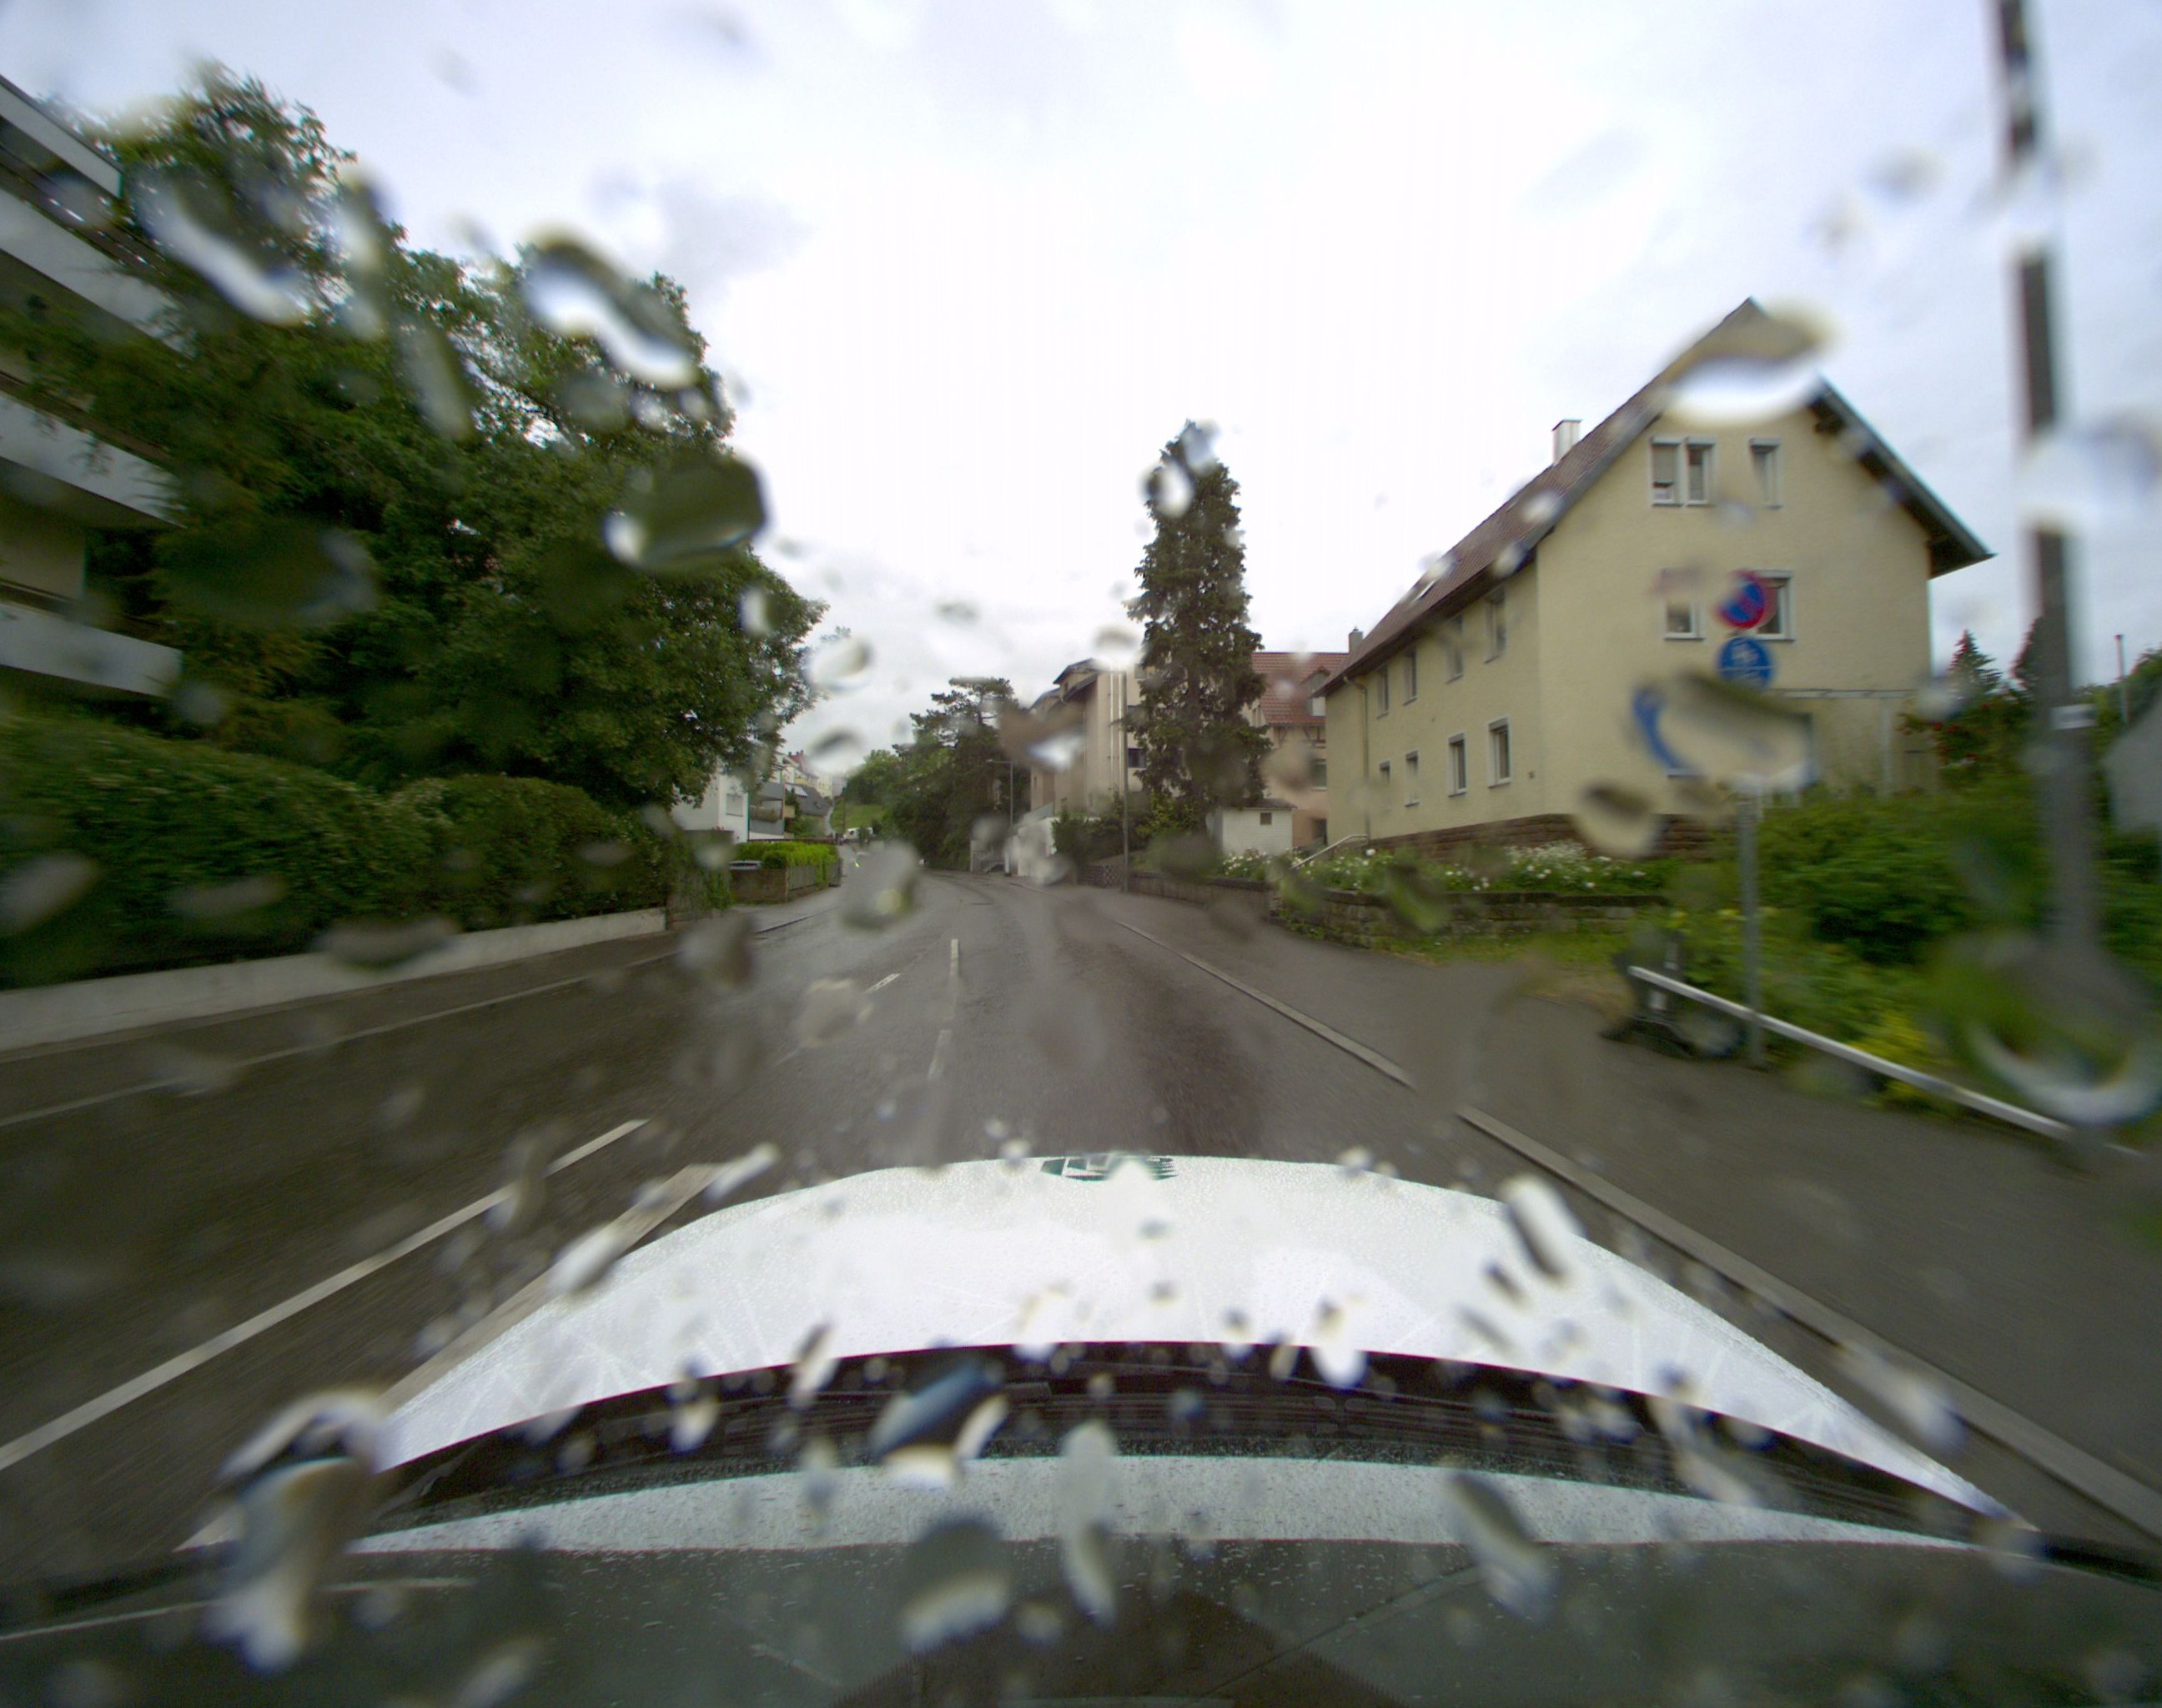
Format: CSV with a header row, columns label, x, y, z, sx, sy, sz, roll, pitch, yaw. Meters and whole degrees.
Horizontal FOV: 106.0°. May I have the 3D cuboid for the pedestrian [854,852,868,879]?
label,x,y,z,sx,sy,sz,roll,pitch,yaw
pedestrian,-13.903,0.733,51.548,0.757,1.644,1.035,3,-1,-13

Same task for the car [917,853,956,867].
label,x,y,z,sx,sy,sz,roll,pitch,yaw
car,-17.210,0.668,96.852,4.161,1.476,1.890,-3,1,-23

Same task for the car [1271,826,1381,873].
label,x,y,z,sx,sy,sz,roll,pitch,yaw
car,10.058,-0.199,33.669,3.846,1.653,1.960,-4,0,-5

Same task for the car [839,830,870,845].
label,x,y,z,sx,sy,sz,roll,pitch,yaw
car,-40.642,-2.956,145.955,4.969,2.569,1.888,-3,1,-27

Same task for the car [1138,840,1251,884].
label,x,y,z,sx,sy,sz,roll,pitch,yaw
car,4.586,0.321,33.379,4.305,1.653,1.962,-2,0,-2

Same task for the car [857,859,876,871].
label,x,y,z,sx,sy,sz,roll,pitch,yaw
car,-22.909,1.180,87.119,1.679,1.146,3.985,-1,0,-11

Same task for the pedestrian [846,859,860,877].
label,x,y,z,sx,sy,sz,roll,pitch,yaw
pedestrian,-14.792,0.899,52.802,0.757,1.180,1.035,3,-1,-13
